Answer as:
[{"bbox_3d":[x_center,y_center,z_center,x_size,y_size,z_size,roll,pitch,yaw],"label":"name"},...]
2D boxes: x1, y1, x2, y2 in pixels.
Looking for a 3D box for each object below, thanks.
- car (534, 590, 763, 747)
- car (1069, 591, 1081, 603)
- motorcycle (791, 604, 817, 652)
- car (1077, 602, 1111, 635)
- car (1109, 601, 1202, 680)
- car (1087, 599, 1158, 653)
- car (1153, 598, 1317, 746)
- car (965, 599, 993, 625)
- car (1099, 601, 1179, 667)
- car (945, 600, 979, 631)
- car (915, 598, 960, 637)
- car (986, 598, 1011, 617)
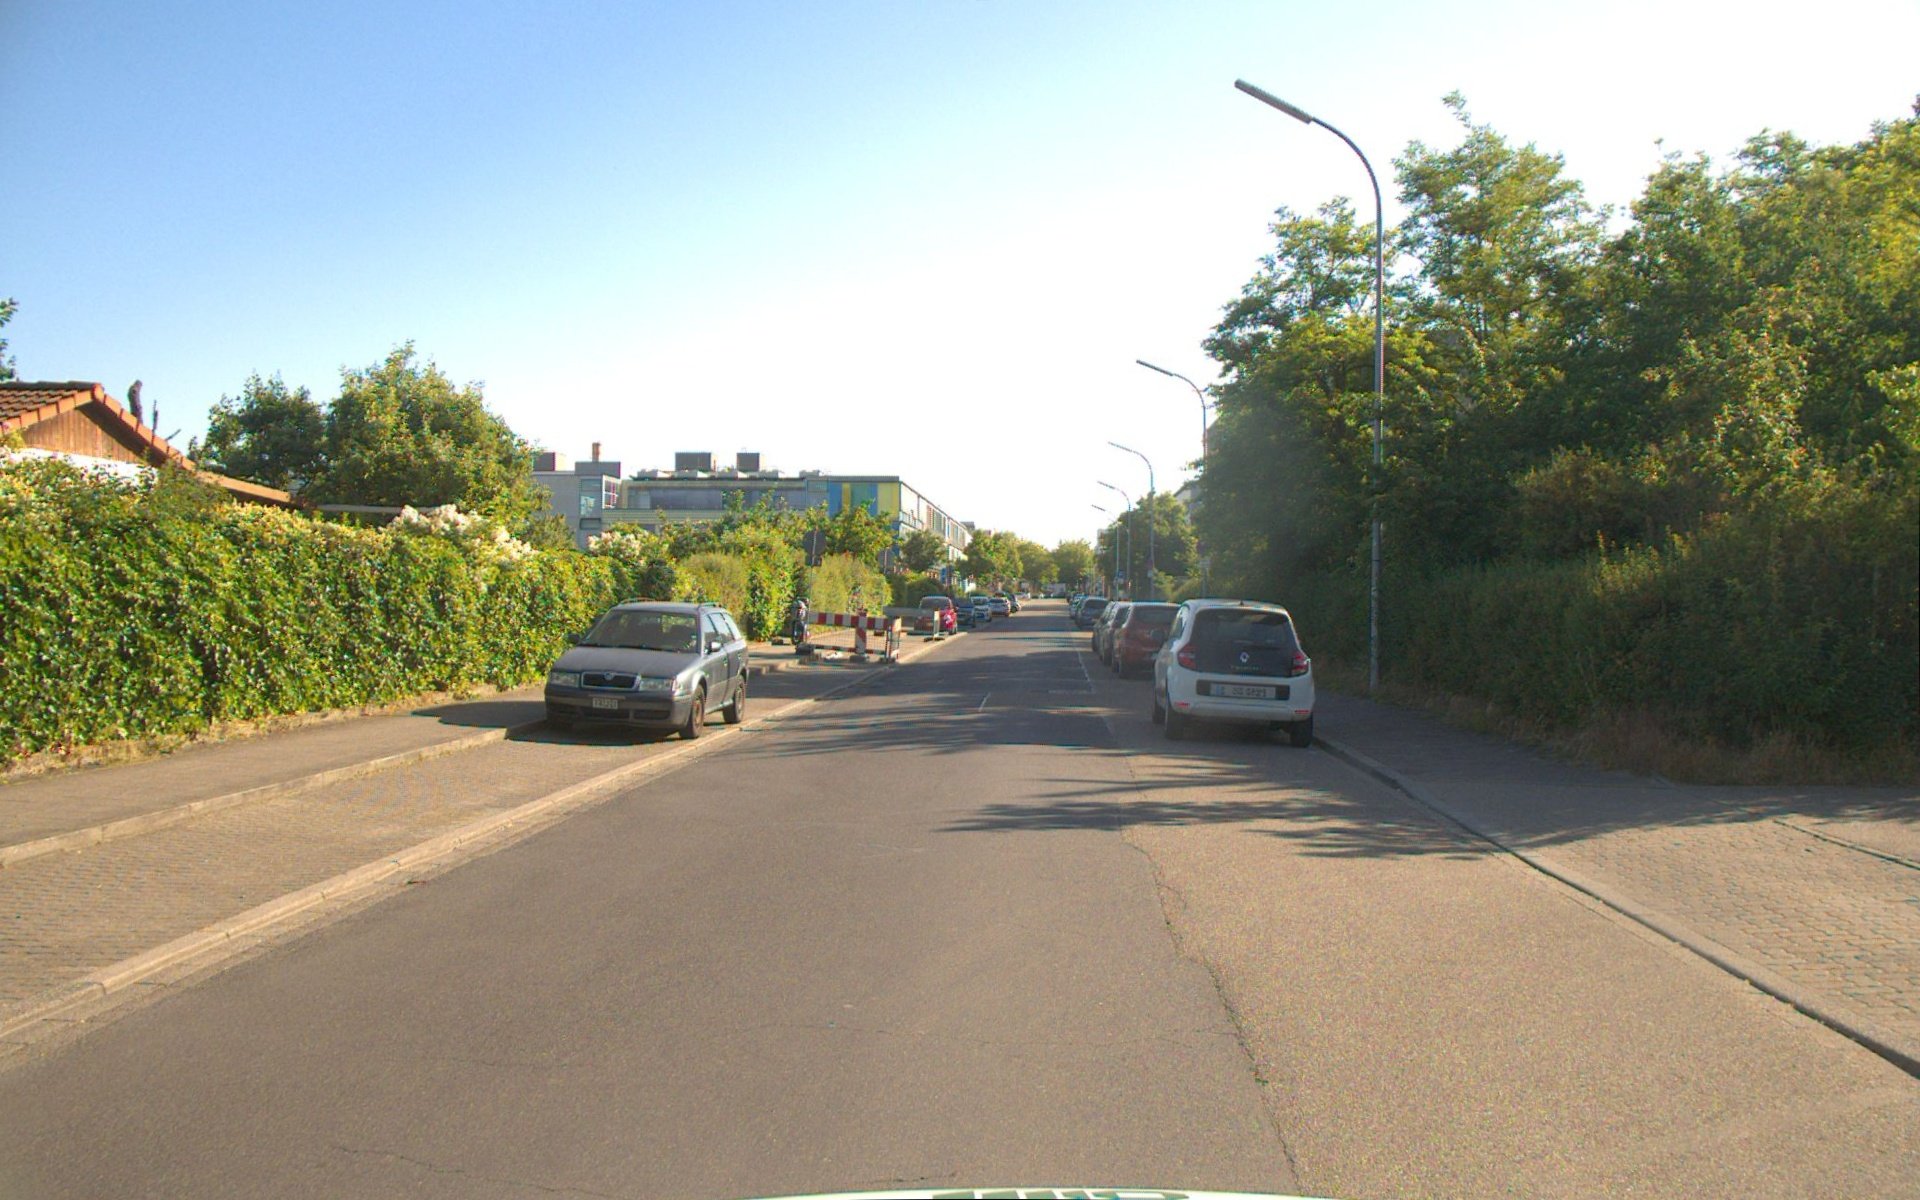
[{"bbox_3d":[-3.577,0.722,19.790,1.609,1.583,4.419,3,0,3],"label":"car"},{"bbox_3d":[15.130,-0.380,217.705,1.415,1.576,3.615,1,0,2],"label":"car"},{"bbox_3d":[-4.302,0.776,45.726,0.555,1.290,2.091,0,-1,-1],"label":"motorcycle"},{"bbox_3d":[6.668,0.888,82.356,1.588,1.553,3.903,1,0,4],"label":"car"},{"bbox_3d":[4.012,0.798,34.437,1.620,1.512,3.840,1,0,3],"label":"car"},{"bbox_3d":[4.640,0.722,47.673,1.717,1.438,4.657,1,0,2],"label":"car"},{"bbox_3d":[3.168,0.772,19.598,1.523,1.565,3.557,1,0,3],"label":"car"},{"bbox_3d":[1.180,0.700,101.776,1.527,1.521,3.760,-1,0,3],"label":"car"},{"bbox_3d":[4.334,0.781,40.571,1.620,1.470,4.658,1,0,3],"label":"car"},{"bbox_3d":[0.128,0.774,84.756,1.527,1.521,3.572,2,0,3],"label":"car"},{"bbox_3d":[-0.864,0.684,66.513,1.527,1.521,3.572,-1,0,3],"label":"car"},{"bbox_3d":[3.092,0.559,131.068,1.815,1.453,4.136,1,0,3],"label":"car"}]
